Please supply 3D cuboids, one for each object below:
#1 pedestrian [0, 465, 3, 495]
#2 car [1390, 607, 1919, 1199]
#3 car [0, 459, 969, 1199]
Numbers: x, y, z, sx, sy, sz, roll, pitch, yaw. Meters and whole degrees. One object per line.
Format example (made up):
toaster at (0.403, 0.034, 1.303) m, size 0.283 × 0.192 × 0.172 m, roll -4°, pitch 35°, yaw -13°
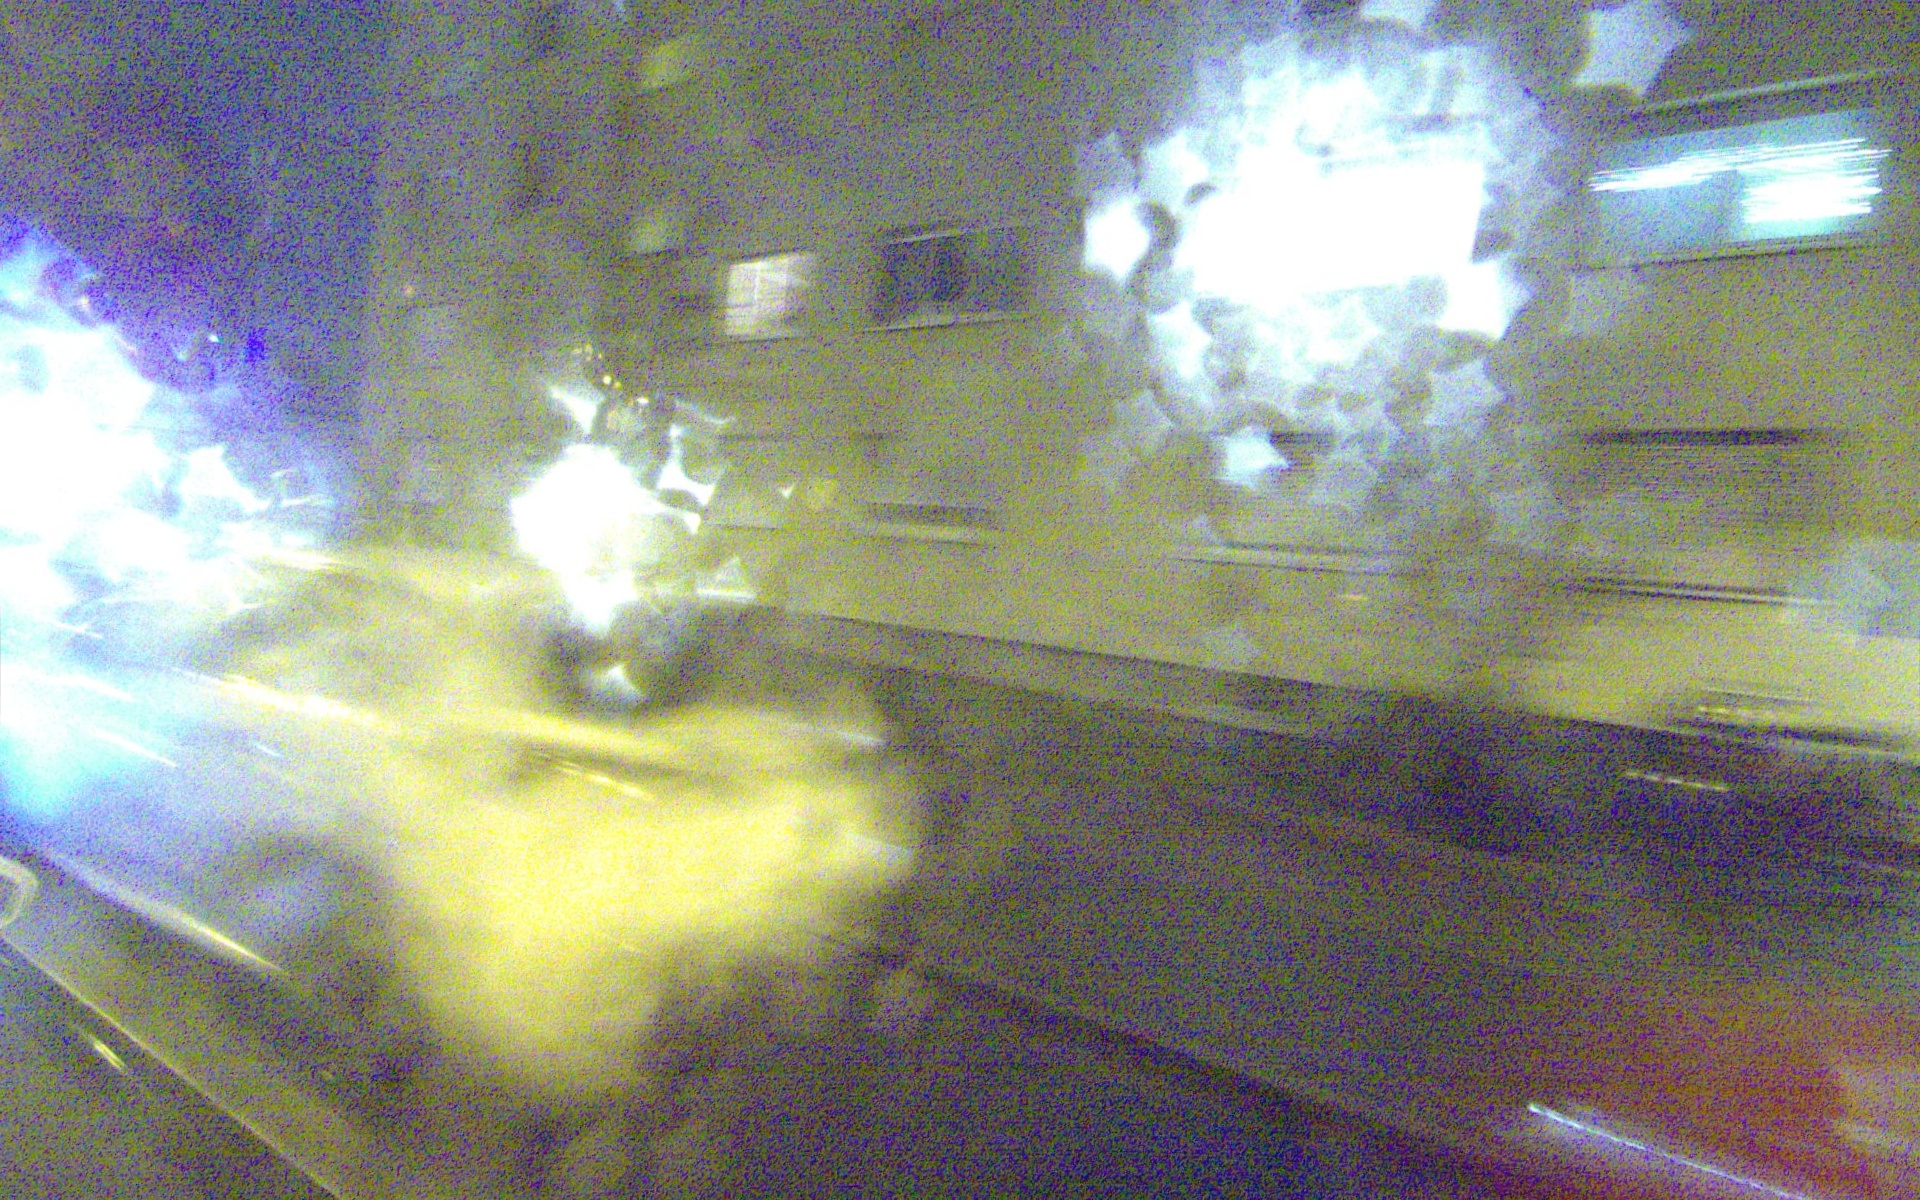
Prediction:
pedestrian at (-12.572, -0.951, 12.270) m, size 1.002 × 1.595 × 1.049 m, roll 7°, pitch 1°, yaw 36°
car at (2.764, 0.975, 0.676) m, size 4.413 × 1.440 × 1.823 m, roll 7°, pitch 2°, yaw 31°
car at (-2.503, 0.361, 4.130) m, size 4.703 × 1.551 × 1.823 m, roll 7°, pitch 2°, yaw 31°
